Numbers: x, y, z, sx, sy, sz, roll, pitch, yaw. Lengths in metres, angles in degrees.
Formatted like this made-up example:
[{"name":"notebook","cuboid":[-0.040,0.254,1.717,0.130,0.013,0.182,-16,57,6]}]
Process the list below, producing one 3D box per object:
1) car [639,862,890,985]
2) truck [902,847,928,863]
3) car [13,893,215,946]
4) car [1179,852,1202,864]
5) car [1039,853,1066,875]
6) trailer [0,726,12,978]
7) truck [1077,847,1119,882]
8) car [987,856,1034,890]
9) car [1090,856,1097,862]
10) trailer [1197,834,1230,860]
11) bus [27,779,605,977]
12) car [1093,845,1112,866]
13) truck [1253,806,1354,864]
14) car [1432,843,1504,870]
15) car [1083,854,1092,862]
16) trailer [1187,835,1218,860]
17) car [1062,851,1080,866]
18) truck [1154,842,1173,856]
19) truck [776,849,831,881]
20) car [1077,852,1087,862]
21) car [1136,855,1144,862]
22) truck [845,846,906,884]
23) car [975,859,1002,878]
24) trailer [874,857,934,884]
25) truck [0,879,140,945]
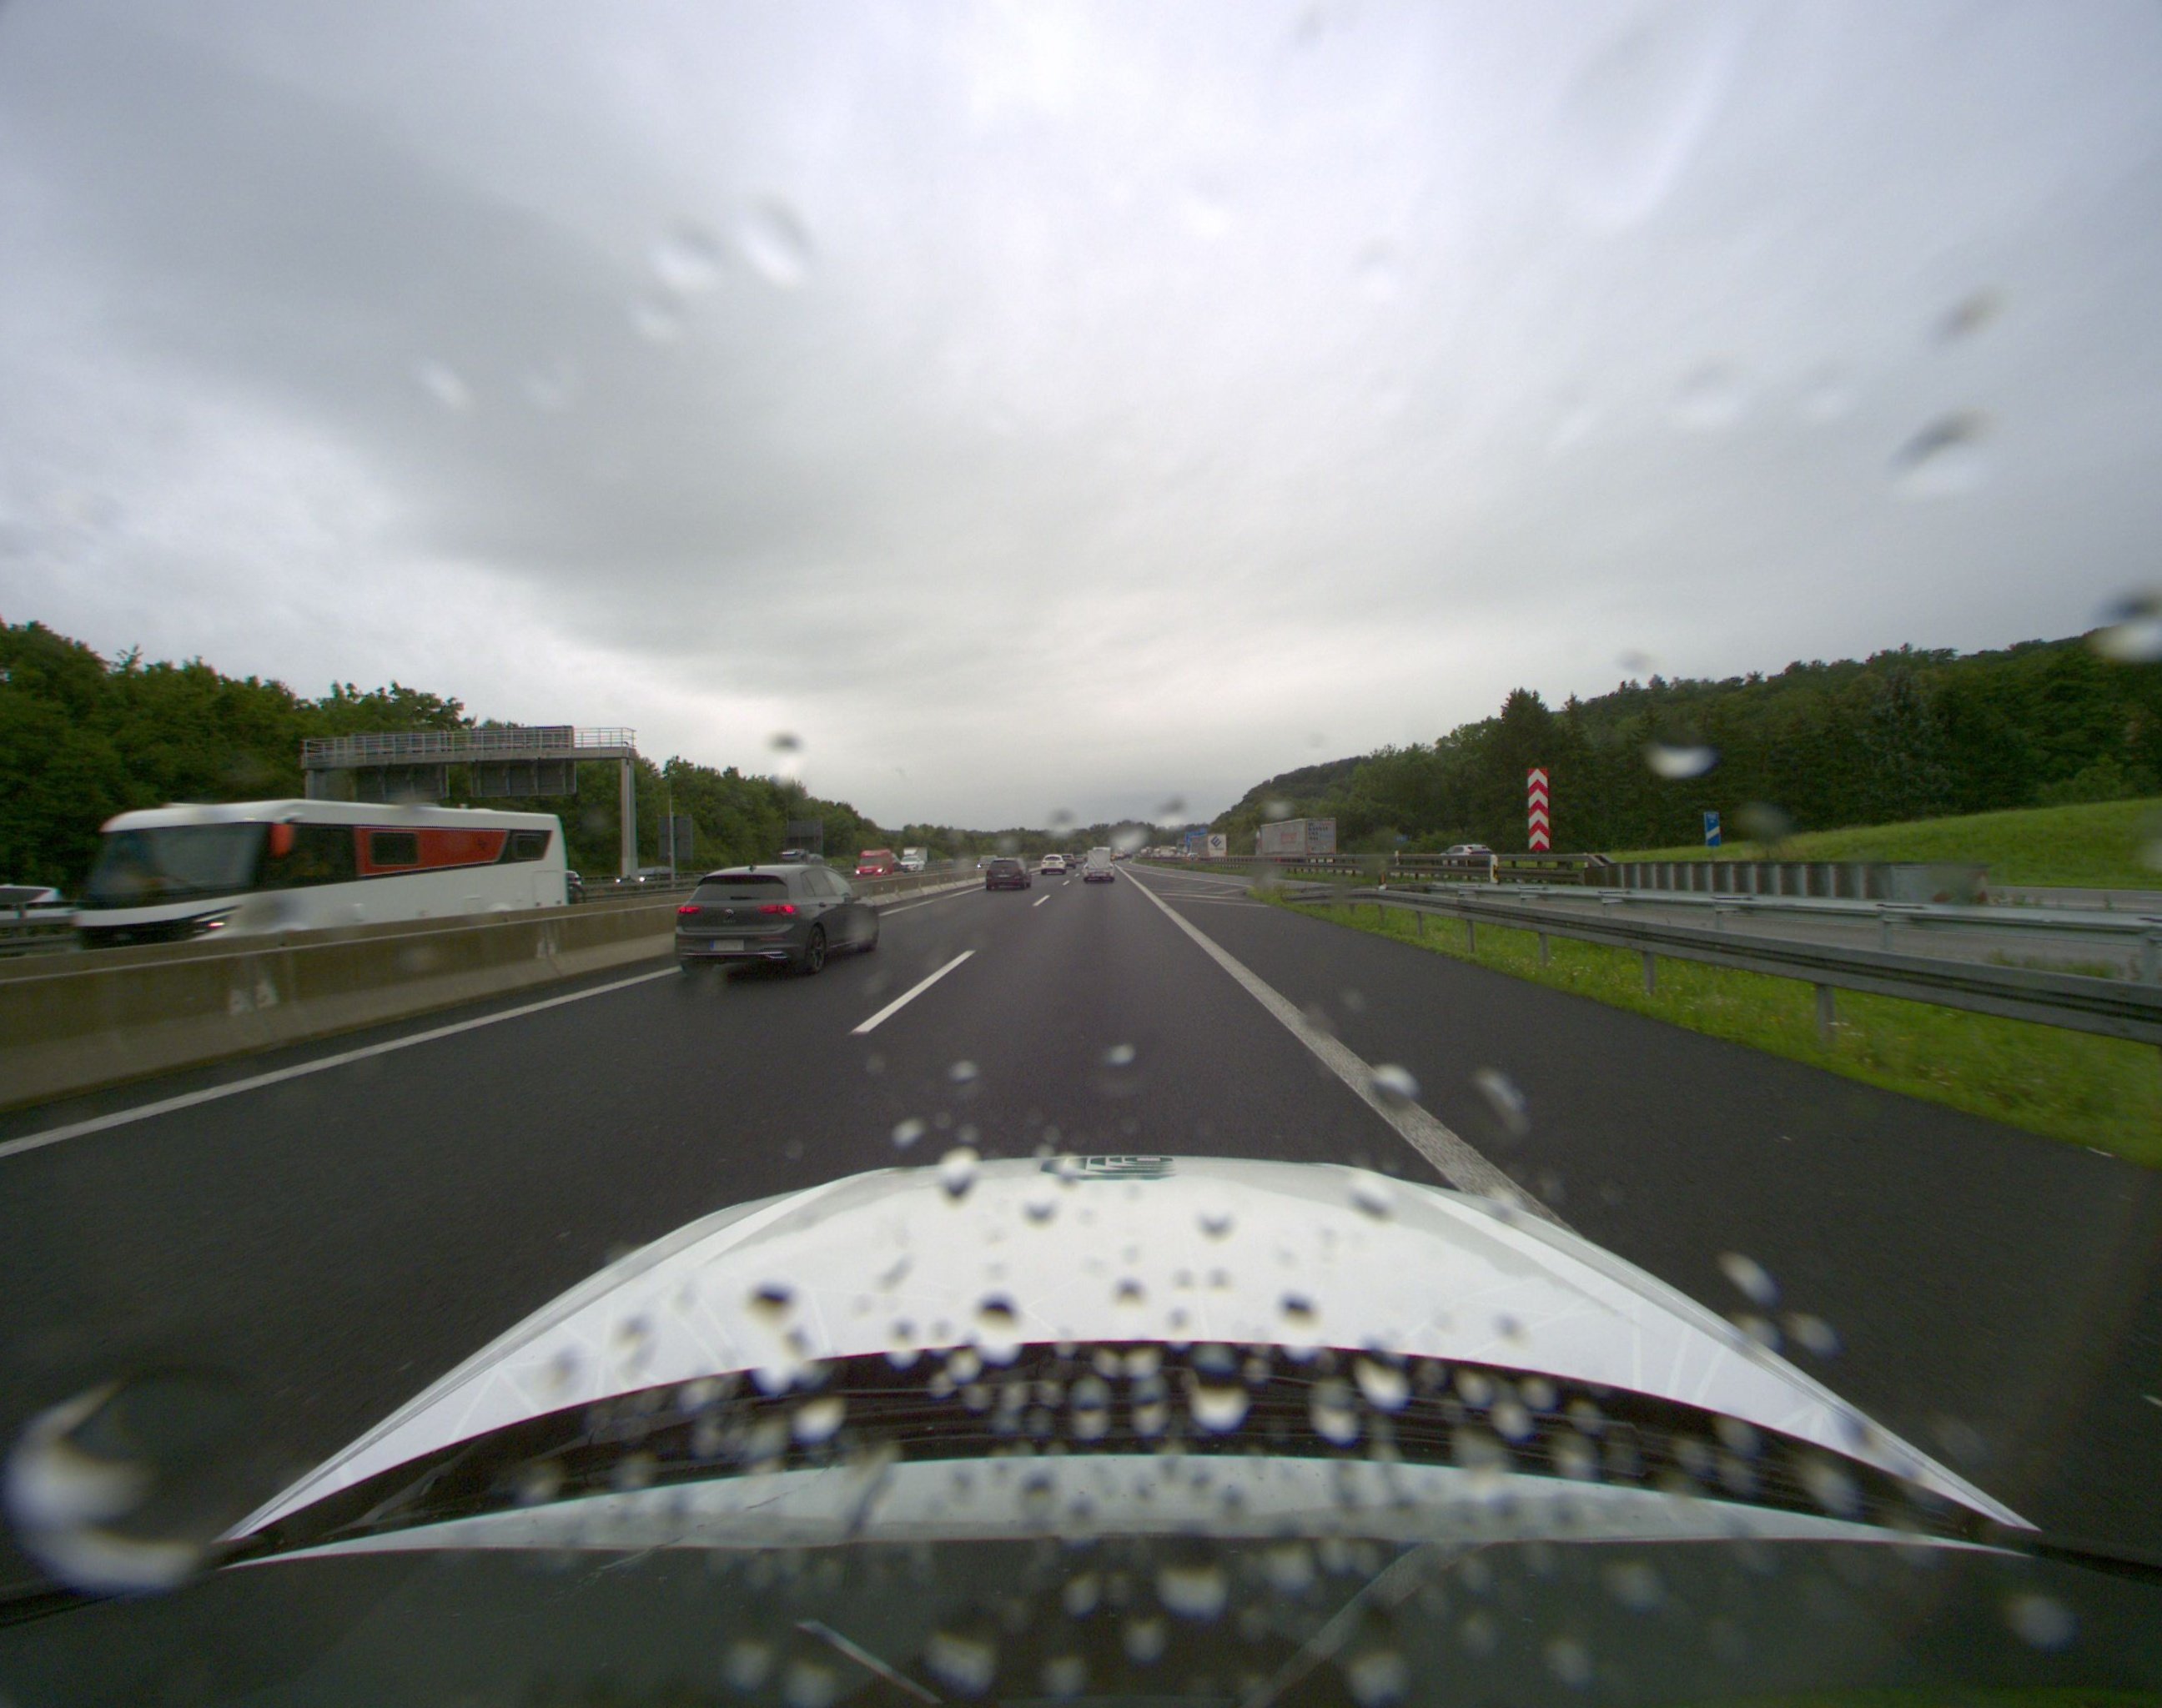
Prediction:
[{"name":"car","cuboid":[-4.296,0.852,11.920,1.823,1.425,4.370,-1,0,2]},{"name":"truck","cuboid":[-30.706,0.179,150.918,2.729,2.872,8.542,-2,0,1]},{"name":"car","cuboid":[-31.443,2.081,26.691,1.791,1.376,4.000,-2,0,1]},{"name":"car","cuboid":[14.716,0.549,109.325,1.990,1.616,5.070,-2,0,-5]},{"name":"car","cuboid":[-2.378,0.803,67.285,2.045,1.670,4.534,-1,0,-4]},{"name":"trailer","cuboid":[-16.652,-0.038,7.443,2.931,3.516,8.055,0,0,2]},{"name":"truck","cuboid":[1.035,0.612,47.448,2.233,1.839,6.587,-1,-1,2]},{"name":"car","cuboid":[-3.285,0.859,38.511,1.782,1.459,4.801,-1,0,0]},{"name":"car","cuboid":[3.350,1.237,217.928,1.639,1.574,4.002,0,0,2]},{"name":"trailer","cuboid":[18.298,-0.953,113.080,3.070,3.527,8.078,0,0,-2]},{"name":"bus","cuboid":[-12.431,0.330,14.800,2.532,2.586,8.273,0,0,1]},{"name":"car","cuboid":[2.814,0.189,108.326,2.324,2.725,6.538,-1,0,0]},{"name":"truck","cuboid":[19.526,-1.459,73.309,3.811,4.540,16.869,-1,0,-2]},{"name":"car","cuboid":[23.557,0.138,49.799,1.814,1.504,5.028,-2,0,-2]},{"name":"car","cuboid":[1.476,0.885,183.581,1.812,1.662,4.019,-2,0,2]},{"name":"trailer","cuboid":[18.030,-0.916,121.374,2.931,3.527,8.411,0,0,-2]},{"name":"car","cuboid":[-1.142,0.552,95.893,1.968,1.703,4.803,-1,0,1]},{"name":"truck","cuboid":[21.397,-1.281,212.004,3.815,3.659,8.265,0,0,-2]},{"name":"truck","cuboid":[-29.497,1.135,87.025,2.503,3.145,8.853,-2,0,2]},{"name":"car","cuboid":[0.141,0.593,149.809,1.732,1.794,4.001,-1,0,1]},{"name":"car","cuboid":[13.160,0.940,182.348,1.639,1.574,4.002,0,0,2]},{"name":"truck","cuboid":[-14.935,0.778,59.723,2.417,2.594,7.096,-1,0,2]},{"name":"car","cuboid":[-10.153,1.588,89.758,1.985,2.013,5.103,-2,0,3]},{"name":"trailer","cuboid":[-14.710,1.286,68.473,2.527,2.013,10.248,-2,0,1]},{"name":"truck","cuboid":[-27.051,1.473,20.301,1.988,1.495,4.468,-2,0,-1]}]
